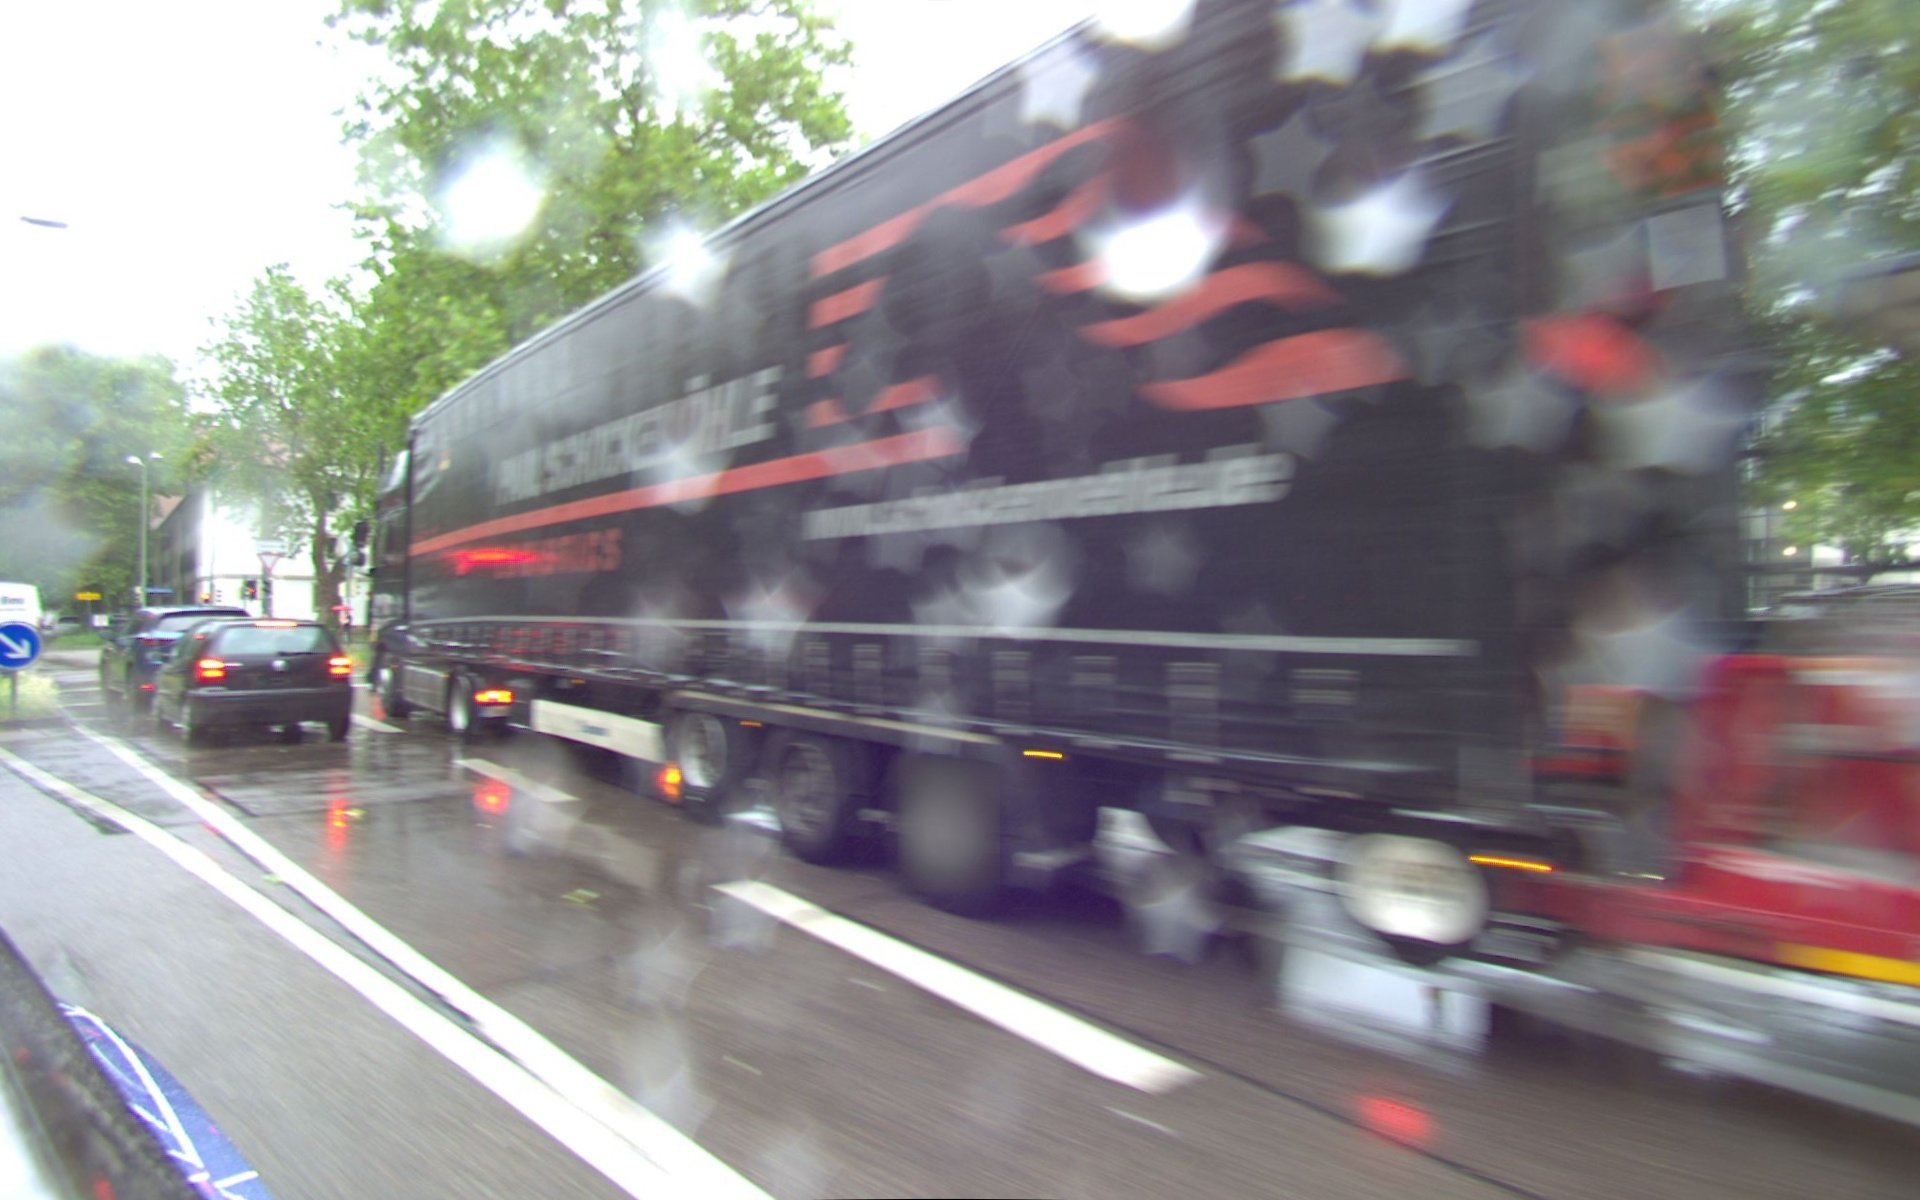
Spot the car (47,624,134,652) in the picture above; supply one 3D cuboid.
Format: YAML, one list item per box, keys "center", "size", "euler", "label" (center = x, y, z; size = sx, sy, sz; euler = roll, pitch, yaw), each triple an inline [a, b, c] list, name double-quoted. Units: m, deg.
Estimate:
- center: [-61.462, 2.694, 71.612]
  size: [4.599, 1.888, 2.036]
  euler: [2, -3, -41]
  label: "car"

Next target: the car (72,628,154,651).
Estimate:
- center: [-54.643, 2.535, 65.357]
  size: [1.798, 1.364, 3.941]
  euler: [-2, -2, 45]
  label: "car"

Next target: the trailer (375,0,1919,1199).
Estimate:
- center: [-1.222, -0.433, 8.438]
  size: [3.400, 4.080, 15.070]
  euler: [2, -3, -41]
  label: "trailer"

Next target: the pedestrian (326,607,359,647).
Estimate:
- center: [-26.614, 1.165, 43.647]
  size: [0.843, 1.701, 0.854]
  euler: [-1, -3, 21]
  label: "pedestrian"

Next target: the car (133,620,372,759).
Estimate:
- center: [-8.628, 0.976, 12.198]
  size: [1.678, 1.384, 4.102]
  euler: [2, -3, -45]
  label: "car"

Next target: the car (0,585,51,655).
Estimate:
- center: [-36.715, 0.728, 36.212]
  size: [2.254, 2.582, 6.504]
  euler: [-1, -1, 3]
  label: "car"

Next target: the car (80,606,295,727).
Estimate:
- center: [-13.163, 1.081, 17.120]
  size: [4.929, 1.695, 2.051]
  euler: [-4, -1, 43]
  label: "car"

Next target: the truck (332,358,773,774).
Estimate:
- center: [-5.845, -0.227, 13.735]
  size: [3.408, 4.110, 6.983]
  euler: [1, -2, -42]
  label: "truck"
